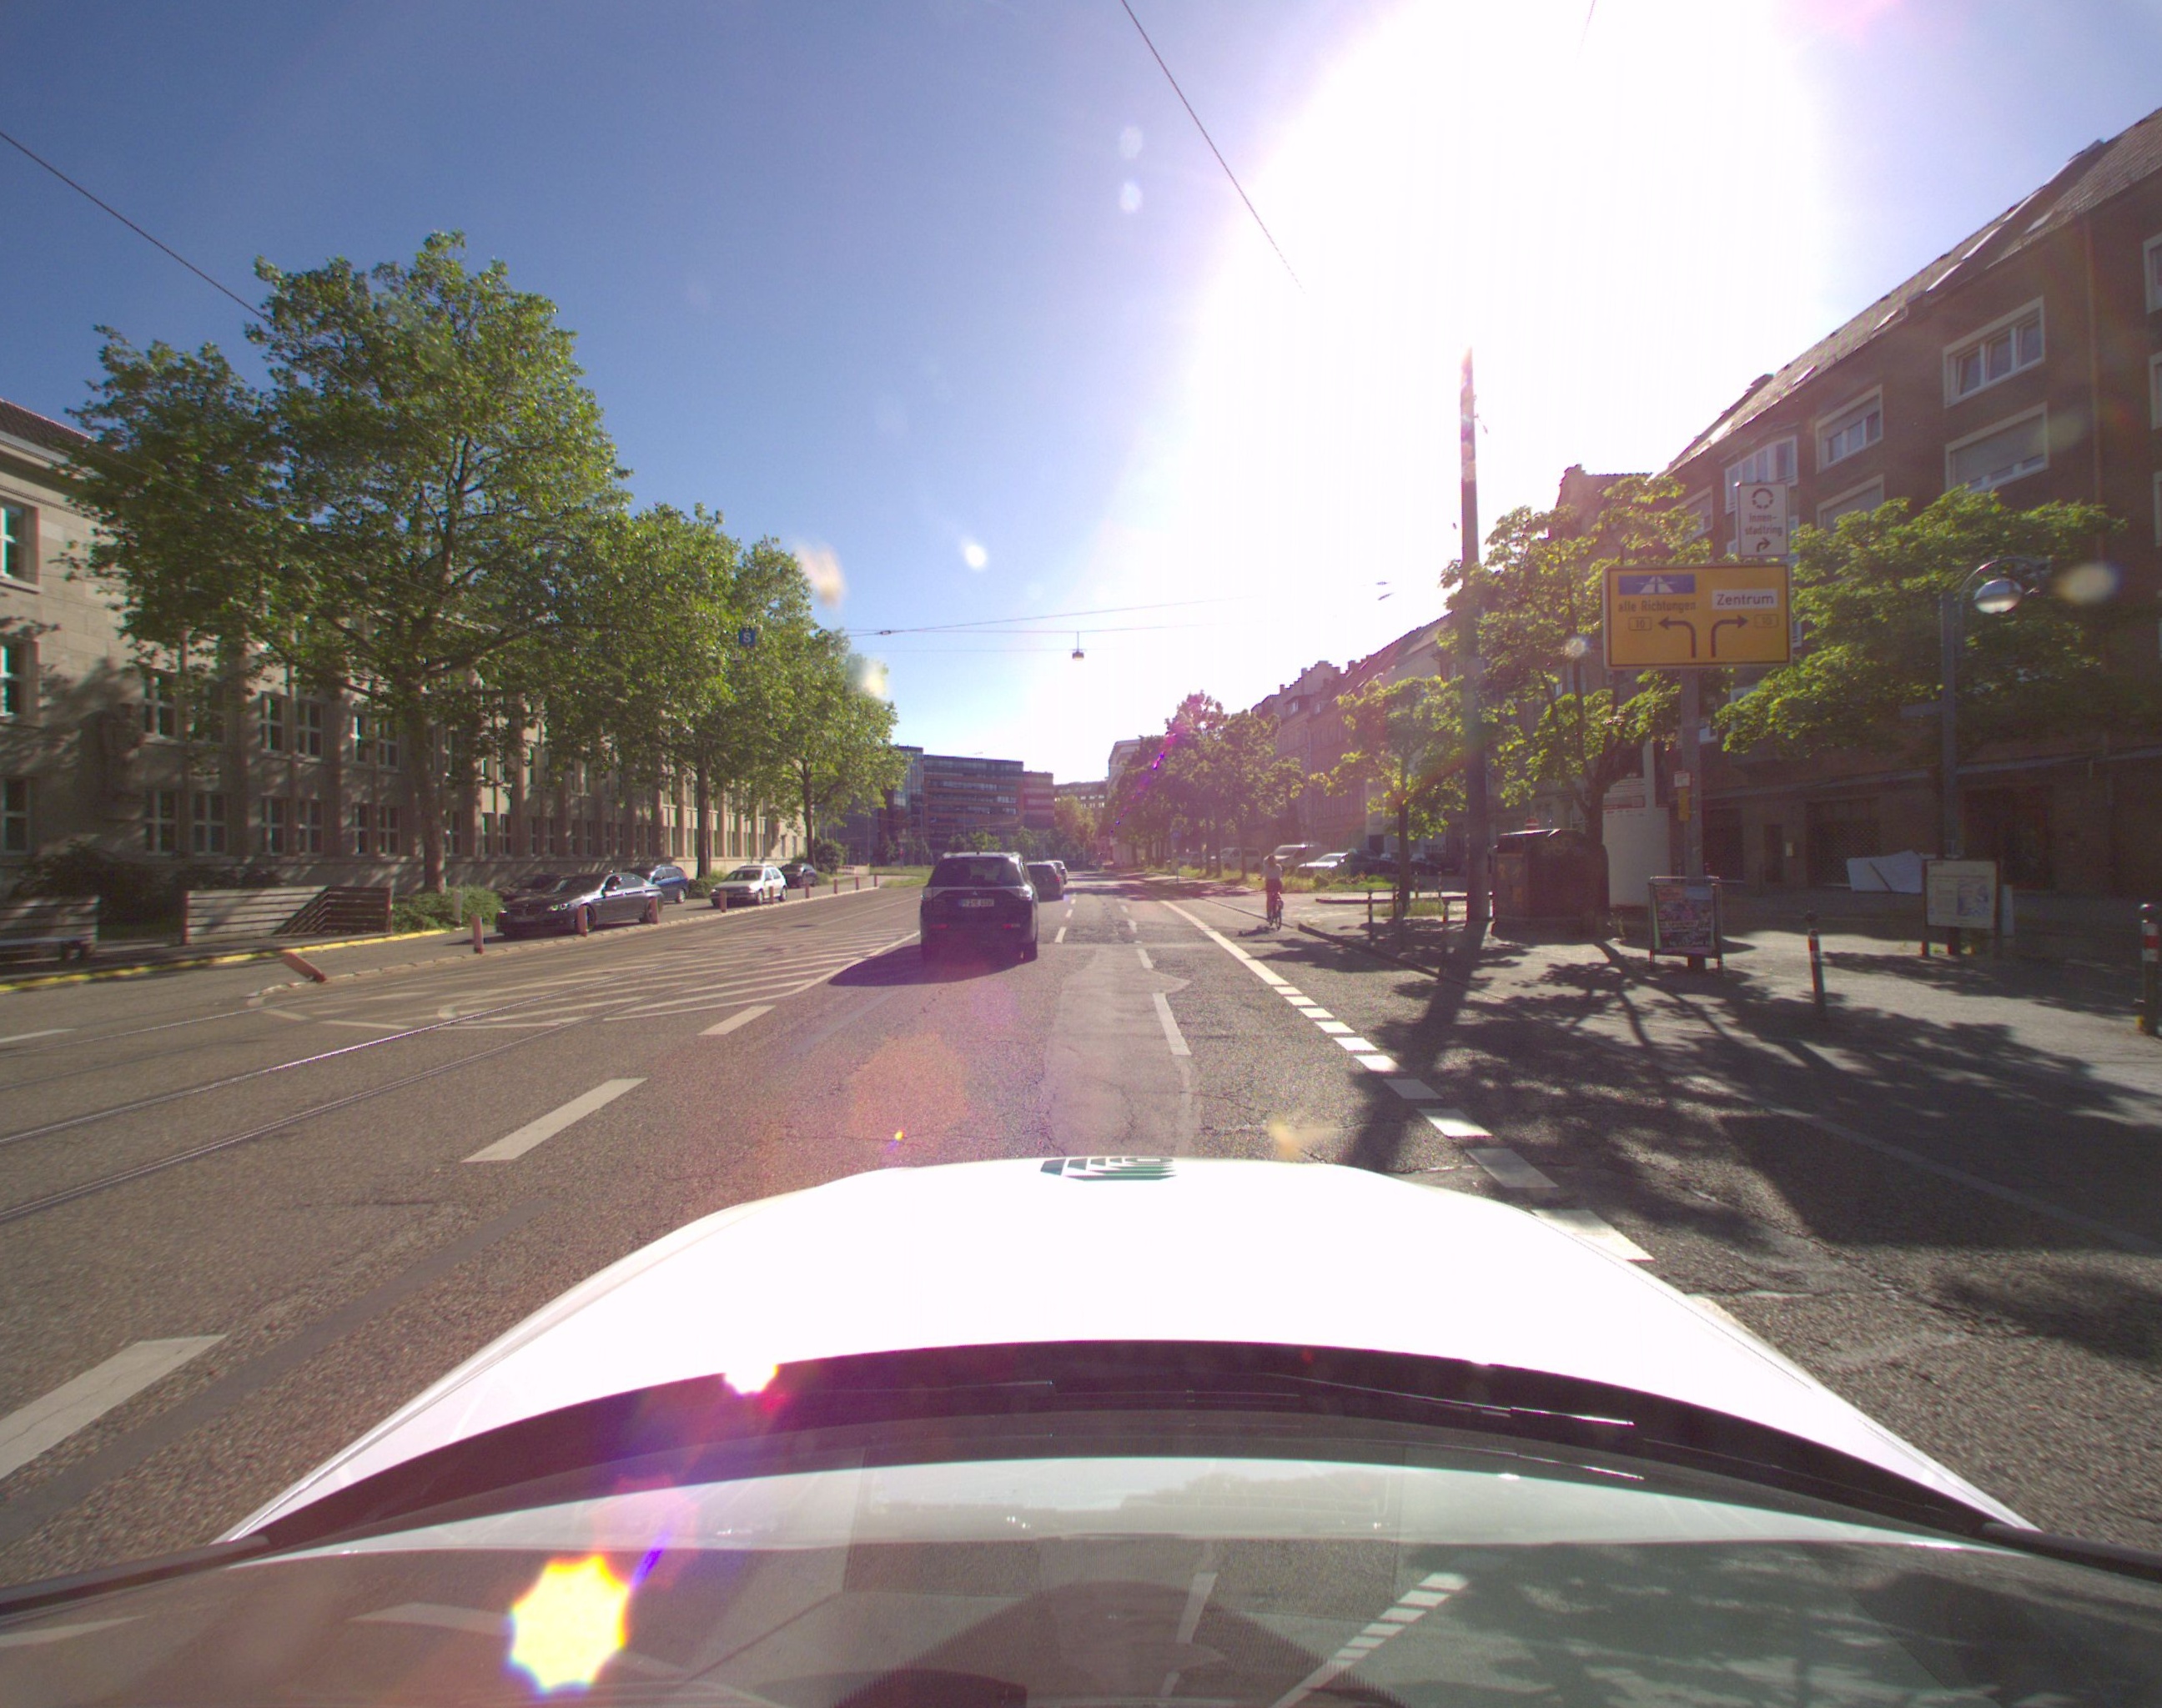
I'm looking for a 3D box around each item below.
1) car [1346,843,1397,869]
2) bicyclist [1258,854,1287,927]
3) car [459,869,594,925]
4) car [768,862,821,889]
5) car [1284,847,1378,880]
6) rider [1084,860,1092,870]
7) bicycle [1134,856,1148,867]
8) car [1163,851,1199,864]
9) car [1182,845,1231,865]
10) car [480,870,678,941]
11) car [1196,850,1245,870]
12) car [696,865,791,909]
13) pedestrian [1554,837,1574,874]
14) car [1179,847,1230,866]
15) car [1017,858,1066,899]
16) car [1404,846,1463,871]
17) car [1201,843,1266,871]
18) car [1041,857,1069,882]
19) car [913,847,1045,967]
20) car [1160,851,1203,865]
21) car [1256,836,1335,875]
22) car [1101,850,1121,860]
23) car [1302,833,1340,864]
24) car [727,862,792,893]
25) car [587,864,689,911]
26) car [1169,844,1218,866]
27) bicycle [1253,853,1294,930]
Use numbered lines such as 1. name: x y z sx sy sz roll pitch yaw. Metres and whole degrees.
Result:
1. car: 21.661 0.099 60.848 1.988 1.799 4.623 -3 1 -2
2. bicyclist: 4.387 0.815 18.692 0.436 1.639 0.779 -1 0 0
3. car: -17.885 1.324 26.534 1.668 1.547 4.184 -1 0 -3
4. car: -17.890 1.310 51.079 1.824 1.492 4.181 -1 0 0
5. car: 12.999 0.470 42.271 4.901 1.435 1.999 -3 1 -34
6. rider: 0.860 1.309 101.529 0.498 1.176 1.683 -1 1 16
7. bicycle: 7.025 0.873 95.352 0.760 1.290 1.608 -2 0 38
8. car: 12.887 0.397 105.038 4.487 1.565 1.918 -1 0 -33
9. car: 12.365 0.083 80.190 4.528 1.727 1.980 -3 0 -31
10. car: -12.647 1.220 20.995 1.823 1.453 4.964 -2 0 2
11. car: 12.066 0.532 70.504 4.048 1.478 1.793 -3 0 -35
12. car: -12.725 1.191 30.981 1.824 1.453 4.170 -2 0 0
13. pedestrian: 23.252 0.058 39.235 0.567 1.758 0.615 -2 0 1
14. car: 12.656 0.215 83.528 4.897 1.648 2.080 -3 0 -31
15. car: -1.479 0.946 31.134 1.729 1.423 4.463 1 -2 -2
16. car: 21.642 0.230 50.165 1.723 1.420 4.291 -2 1 -1
17. car: 12.680 0.239 67.673 5.205 2.013 2.080 -3 0 -31
18. car: -1.631 0.978 50.047 1.628 1.423 3.777 1 -2 -3
19. car: -1.548 0.775 13.907 1.831 1.682 4.638 0 -1 -2
20. car: 11.394 0.439 92.205 4.772 1.380 2.024 -1 0 -35
21. car: 13.154 0.086 49.807 4.903 2.075 1.998 -3 1 -36
22. car: 6.461 0.204 177.566 3.958 2.014 2.008 -1 -1 14
23. car: 21.300 -0.473 72.565 1.987 2.585 4.513 -3 1 0
24. car: -18.029 1.280 45.903 1.824 1.587 4.395 -2 0 0
25. car: -17.562 1.280 32.545 1.826 1.639 4.390 -1 0 -3
26. car: 11.914 0.070 86.084 4.902 2.013 2.078 -3 0 -36
27. bicycle: 4.388 0.816 18.691 0.436 1.639 1.938 -1 0 -1
